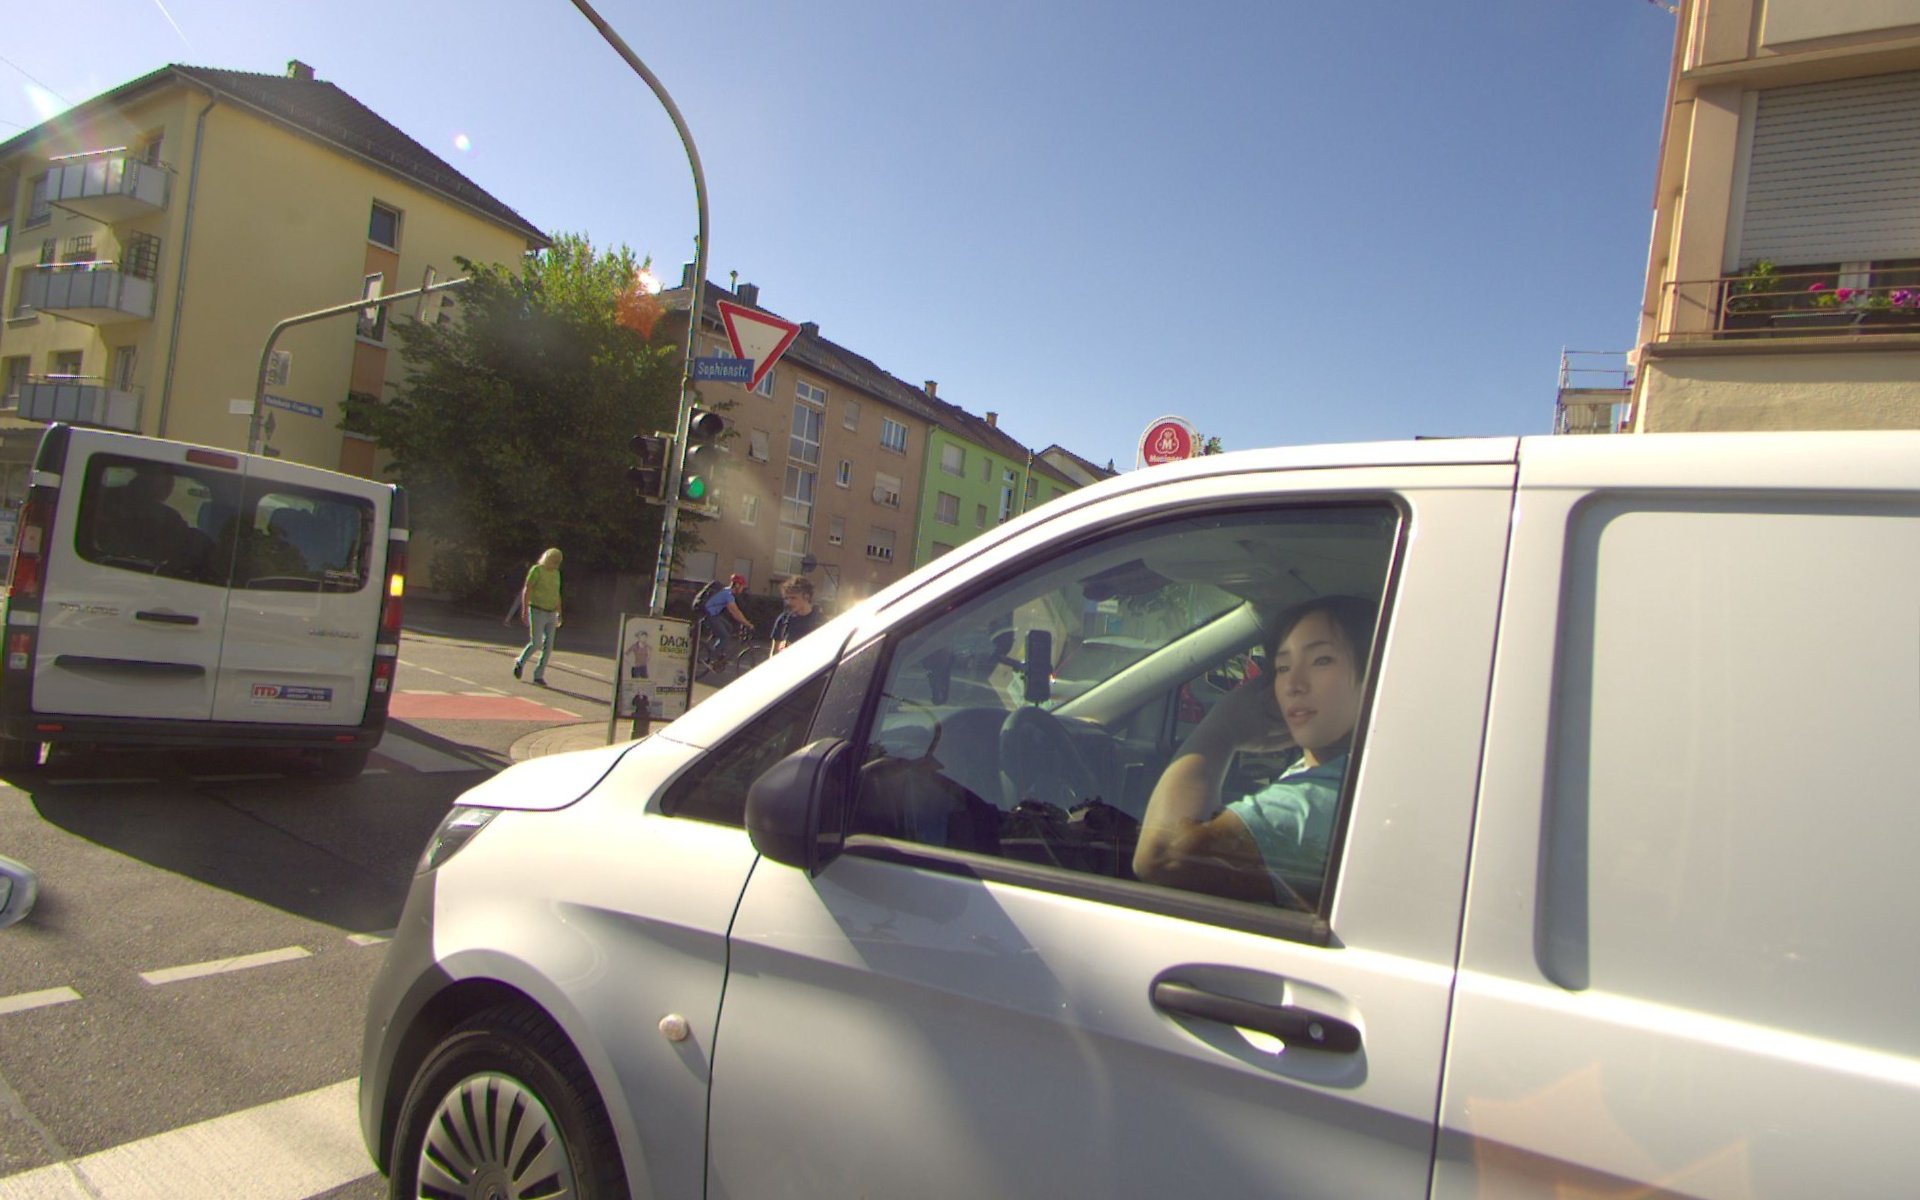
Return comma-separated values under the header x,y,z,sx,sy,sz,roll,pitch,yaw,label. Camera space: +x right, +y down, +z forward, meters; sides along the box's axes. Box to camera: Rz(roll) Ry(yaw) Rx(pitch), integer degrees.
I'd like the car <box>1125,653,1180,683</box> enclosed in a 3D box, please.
x,y,z,sx,sy,sz,roll,pitch,yaw,label
10.604,3.745,55.164,1.658,1.352,3.516,7,-1,33,car

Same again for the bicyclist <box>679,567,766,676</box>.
x,y,z,sx,sy,sz,roll,pitch,yaw,label
-4.120,0.356,17.416,1.111,1.668,0.799,10,0,-23,bicyclist

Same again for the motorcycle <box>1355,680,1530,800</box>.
x,y,z,sx,sy,sz,roll,pitch,yaw,label
5.751,1.667,11.966,1.986,1.180,0.565,8,0,-21,motorcycle

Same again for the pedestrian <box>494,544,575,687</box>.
x,y,z,sx,sy,sz,roll,pitch,yaw,label
-5.603,0.208,13.258,0.613,1.783,0.526,7,0,30,pedestrian

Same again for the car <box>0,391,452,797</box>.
x,y,z,sx,sy,sz,roll,pitch,yaw,label
-5.584,-0.041,7.400,1.962,1.961,4.999,10,-3,-41,car

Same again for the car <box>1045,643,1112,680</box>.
x,y,z,sx,sy,sz,roll,pitch,yaw,label
5.585,2.901,47.138,1.658,1.428,3.516,7,-1,32,car

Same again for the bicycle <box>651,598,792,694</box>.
x,y,z,sx,sy,sz,roll,pitch,yaw,label
-4.133,0.803,17.433,2.112,1.269,0.799,11,0,-23,bicycle

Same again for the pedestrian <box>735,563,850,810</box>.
x,y,z,sx,sy,sz,roll,pitch,yaw,label
-1.342,0.670,7.994,0.597,1.844,0.626,7,0,-19,pedestrian

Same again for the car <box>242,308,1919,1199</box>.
x,y,z,sx,sy,sz,roll,pitch,yaw,label
1.116,0.748,1.727,4.752,1.832,1.972,6,-1,31,car

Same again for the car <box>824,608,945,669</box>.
x,y,z,sx,sy,sz,roll,pitch,yaw,label
-2.473,1.331,34.014,1.967,1.592,3.993,7,-1,32,car

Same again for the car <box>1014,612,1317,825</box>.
x,y,z,sx,sy,sz,roll,pitch,yaw,label
2.418,1.219,10.941,1.795,1.682,3.993,7,-1,32,car

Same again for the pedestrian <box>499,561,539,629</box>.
x,y,z,sx,sy,sz,roll,pitch,yaw,label
-10.797,-0.118,24.641,0.530,1.590,0.539,7,0,32,pedestrian

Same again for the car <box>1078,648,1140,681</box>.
x,y,z,sx,sy,sz,roll,pitch,yaw,label
7.541,3.261,50.548,1.658,1.352,3.516,7,-1,33,car

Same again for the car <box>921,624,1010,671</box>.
x,y,z,sx,sy,sz,roll,pitch,yaw,label
0.262,1.848,38.508,1.658,1.428,3.516,7,-1,32,car
